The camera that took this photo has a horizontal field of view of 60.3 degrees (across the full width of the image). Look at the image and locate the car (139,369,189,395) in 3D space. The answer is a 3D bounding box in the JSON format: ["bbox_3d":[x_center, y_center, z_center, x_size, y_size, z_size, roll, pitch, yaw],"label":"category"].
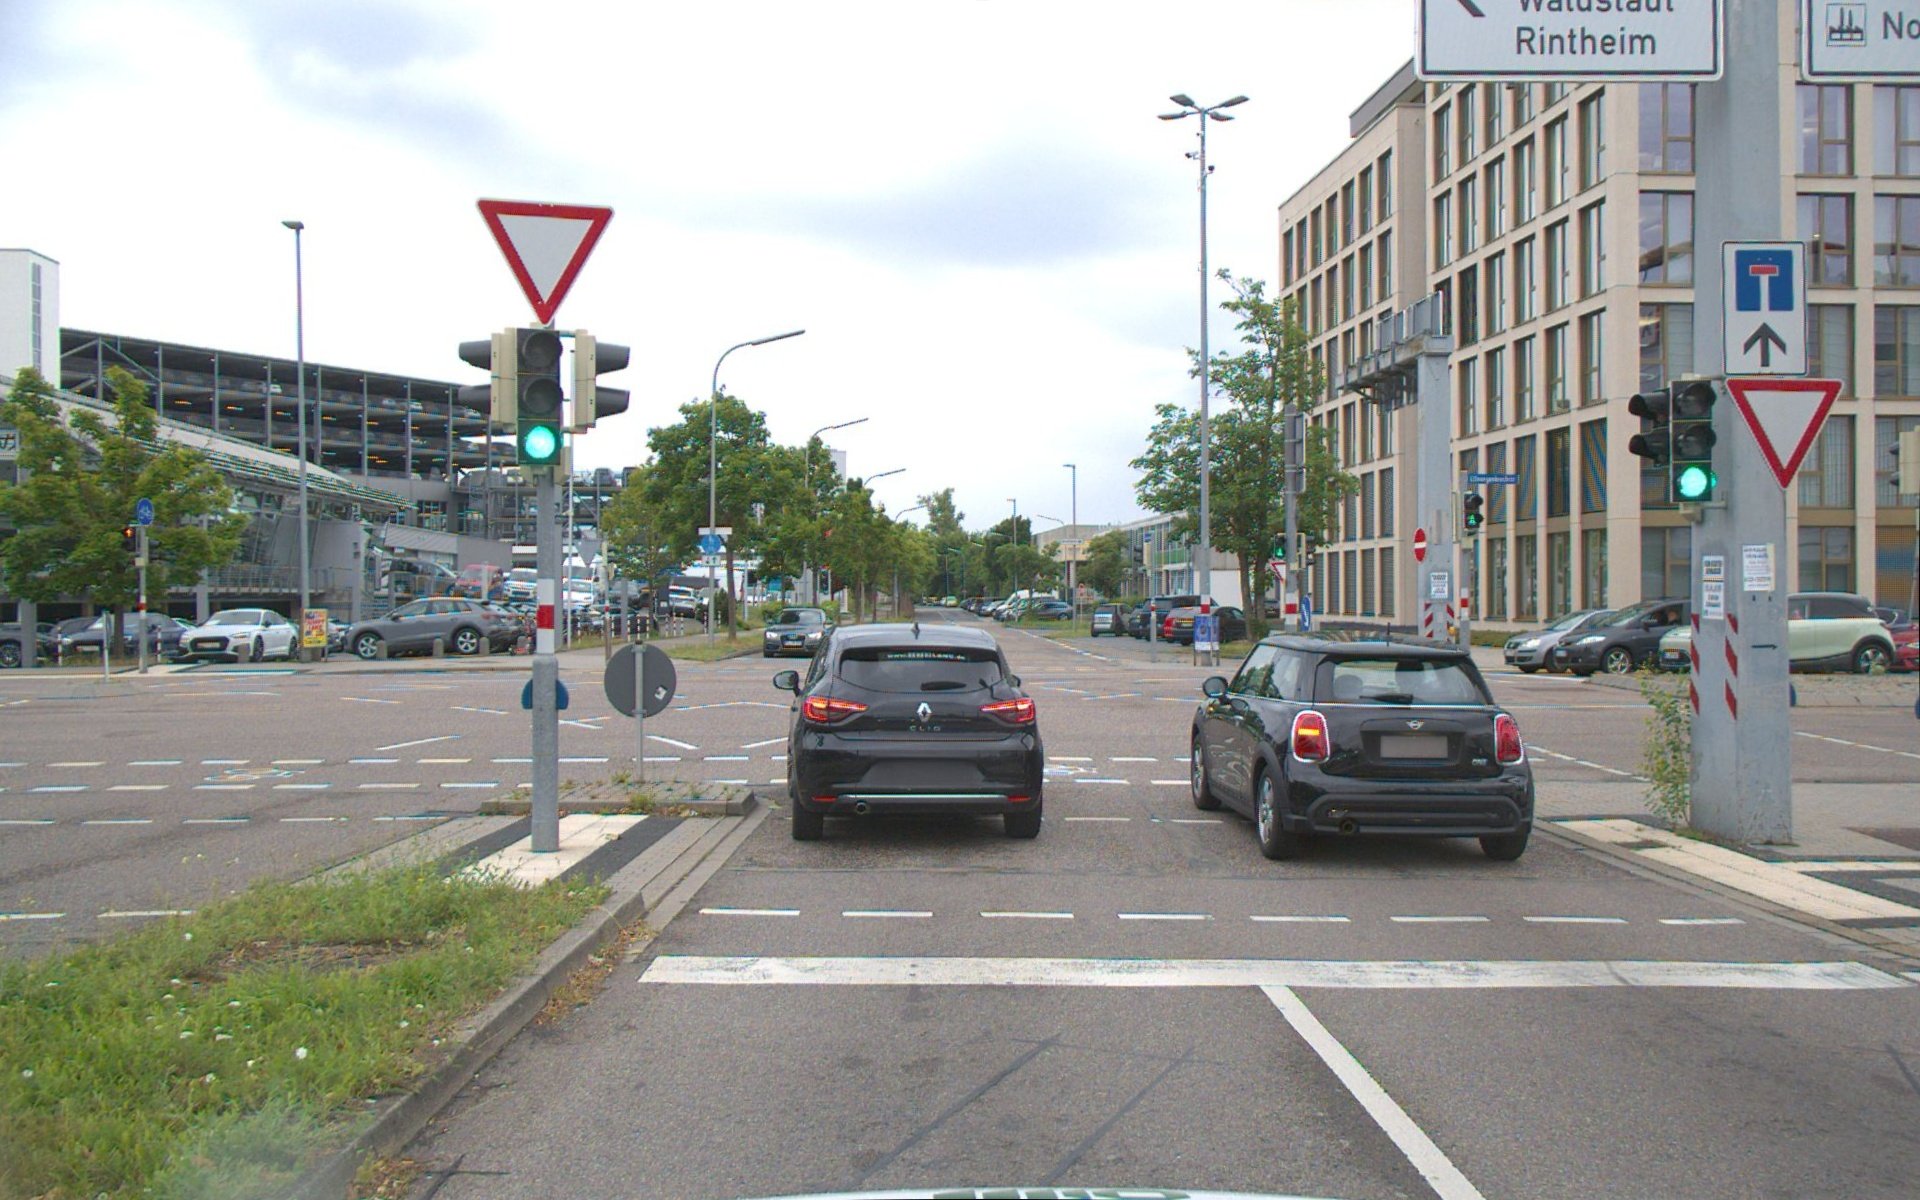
[{"bbox_3d":[-66.918,-18.287,139.106,3.914,1.696,1.995,1,0,31],"label":"car"}]

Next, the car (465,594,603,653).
[{"bbox_3d":[-16.252,0.894,63.317,4.798,2.049,1.998,-2,-1,-6],"label":"car"}]

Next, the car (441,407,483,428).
[{"bbox_3d":[-50.669,-18.521,168.128,3.914,1.696,1.995,1,0,31],"label":"car"}]

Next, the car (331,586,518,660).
[{"bbox_3d":[-15.179,0.647,47.101,4.679,1.895,1.998,-2,-1,-6],"label":"car"}]

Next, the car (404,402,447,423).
[{"bbox_3d":[-52.822,-18.529,163.494,3.914,1.696,1.995,1,0,31],"label":"car"}]

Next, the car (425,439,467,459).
[{"bbox_3d":[-51.519,-15.105,165.762,3.914,1.696,1.995,1,0,31],"label":"car"}]

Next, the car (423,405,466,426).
[{"bbox_3d":[-51.784,-18.500,166.133,3.914,1.696,1.995,1,0,31],"label":"car"}]

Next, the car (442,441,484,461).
[{"bbox_3d":[-50.421,-15.128,167.740,3.914,1.696,1.995,1,0,31],"label":"car"}]

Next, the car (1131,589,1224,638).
[{"bbox_3d":[9.320,0.592,70.731,1.963,2.000,4.221,-1,-1,41],"label":"car"}]

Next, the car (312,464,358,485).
[{"bbox_3d":[-58.280,-11.673,154.245,3.914,1.696,1.995,1,0,31],"label":"car"}]

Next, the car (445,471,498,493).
[{"bbox_3d":[-50.424,-12.205,170.696,5.212,1.979,2.208,1,0,28],"label":"car"}]

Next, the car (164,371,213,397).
[{"bbox_3d":[-65.906,-18.441,141.303,3.914,1.696,1.995,1,0,31],"label":"car"}]

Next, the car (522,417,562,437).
[{"bbox_3d":[-44.971,-18.591,177.826,3.914,1.696,1.995,1,0,31],"label":"car"}]

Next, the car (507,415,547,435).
[{"bbox_3d":[-46.040,-18.603,175.866,3.914,1.696,1.995,1,0,31],"label":"car"}]

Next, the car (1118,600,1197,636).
[{"bbox_3d":[8.887,0.812,74.125,1.667,1.538,3.794,-1,-1,42],"label":"car"}]

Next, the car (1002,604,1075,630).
[{"bbox_3d":[5.658,1.235,120.160,5.070,1.750,2.142,1,-1,-3],"label":"car"}]

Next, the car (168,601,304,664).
[{"bbox_3d":[-18.498,0.865,42.454,1.832,1.512,4.225,-1,-2,-4],"label":"car"}]

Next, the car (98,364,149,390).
[{"bbox_3d":[-69.062,-18.383,136.597,3.914,1.696,1.995,1,0,31],"label":"car"}]

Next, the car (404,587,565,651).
[{"bbox_3d":[-15.829,0.632,55.298,4.853,1.909,2.051,-2,-1,-7],"label":"car"}]

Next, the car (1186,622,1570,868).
[{"bbox_3d":[2.773,0.906,11.784,1.749,1.440,3.642,1,-1,-1],"label":"car"}]

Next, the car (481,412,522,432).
[{"bbox_3d":[-47.833,-18.535,172.485,3.914,1.696,1.995,1,0,31],"label":"car"}]

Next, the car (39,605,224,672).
[{"bbox_3d":[-25.700,1.171,51.435,4.706,1.973,1.999,-1,0,-4],"label":"car"}]

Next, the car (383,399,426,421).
[{"bbox_3d":[-54.139,-18.519,161.173,3.914,1.696,1.995,1,0,31],"label":"car"}]

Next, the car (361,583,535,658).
[{"bbox_3d":[-15.317,0.612,49.670,4.610,2.049,1.998,-2,-1,-5],"label":"car"}]

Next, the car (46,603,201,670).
[{"bbox_3d":[-21.250,0.978,42.222,2.023,1.512,4.510,-2,-3,-6],"label":"car"}]

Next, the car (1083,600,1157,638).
[{"bbox_3d":[7.779,0.917,80.419,3.405,1.762,1.739,2,-2,-43],"label":"car"}]

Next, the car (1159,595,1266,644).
[{"bbox_3d":[9.670,0.741,63.145,4.095,1.799,1.861,1,-1,-41],"label":"car"}]

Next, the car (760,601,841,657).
[{"bbox_3d":[-4.715,0.822,49.418,1.938,1.578,4.614,0,0,0],"label":"car"}]

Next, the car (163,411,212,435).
[{"bbox_3d":[-65.853,-15.060,141.015,3.914,1.696,1.995,1,0,31],"label":"car"}]

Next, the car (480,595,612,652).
[{"bbox_3d":[-16.494,0.944,66.143,4.798,2.049,1.998,-2,-1,-6],"label":"car"}]

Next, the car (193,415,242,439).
[{"bbox_3d":[-64.307,-14.985,143.190,3.914,1.696,1.995,1,0,31],"label":"car"}]

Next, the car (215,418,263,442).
[{"bbox_3d":[-63.330,-14.930,145.193,3.914,1.696,1.995,1,0,31],"label":"car"}]

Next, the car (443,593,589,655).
[{"bbox_3d":[-16.214,0.875,60.598,4.798,2.049,1.998,-2,-1,-6],"label":"car"}]

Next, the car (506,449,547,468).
[{"bbox_3d":[-46.049,-15.059,175.635,3.914,1.696,1.995,1,0,31],"label":"car"}]

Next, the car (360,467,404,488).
[{"bbox_3d":[-55.519,-11.759,158.939,3.914,1.696,1.995,1,0,31],"label":"car"}]

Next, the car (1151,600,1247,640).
[{"bbox_3d":[9.774,0.834,67.533,1.857,1.578,4.105,-1,-1,44],"label":"car"}]

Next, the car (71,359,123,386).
[{"bbox_3d":[-70.139,-18.449,134.406,3.914,1.696,1.995,1,0,31],"label":"car"}]

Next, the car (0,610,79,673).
[{"bbox_3d":[-25.227,1.081,41.973,4.646,1.512,1.891,-1,-3,-4],"label":"car"}]

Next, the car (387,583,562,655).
[{"bbox_3d":[-15.379,0.605,52.677,4.925,2.049,2.263,-2,-1,-5],"label":"car"}]
